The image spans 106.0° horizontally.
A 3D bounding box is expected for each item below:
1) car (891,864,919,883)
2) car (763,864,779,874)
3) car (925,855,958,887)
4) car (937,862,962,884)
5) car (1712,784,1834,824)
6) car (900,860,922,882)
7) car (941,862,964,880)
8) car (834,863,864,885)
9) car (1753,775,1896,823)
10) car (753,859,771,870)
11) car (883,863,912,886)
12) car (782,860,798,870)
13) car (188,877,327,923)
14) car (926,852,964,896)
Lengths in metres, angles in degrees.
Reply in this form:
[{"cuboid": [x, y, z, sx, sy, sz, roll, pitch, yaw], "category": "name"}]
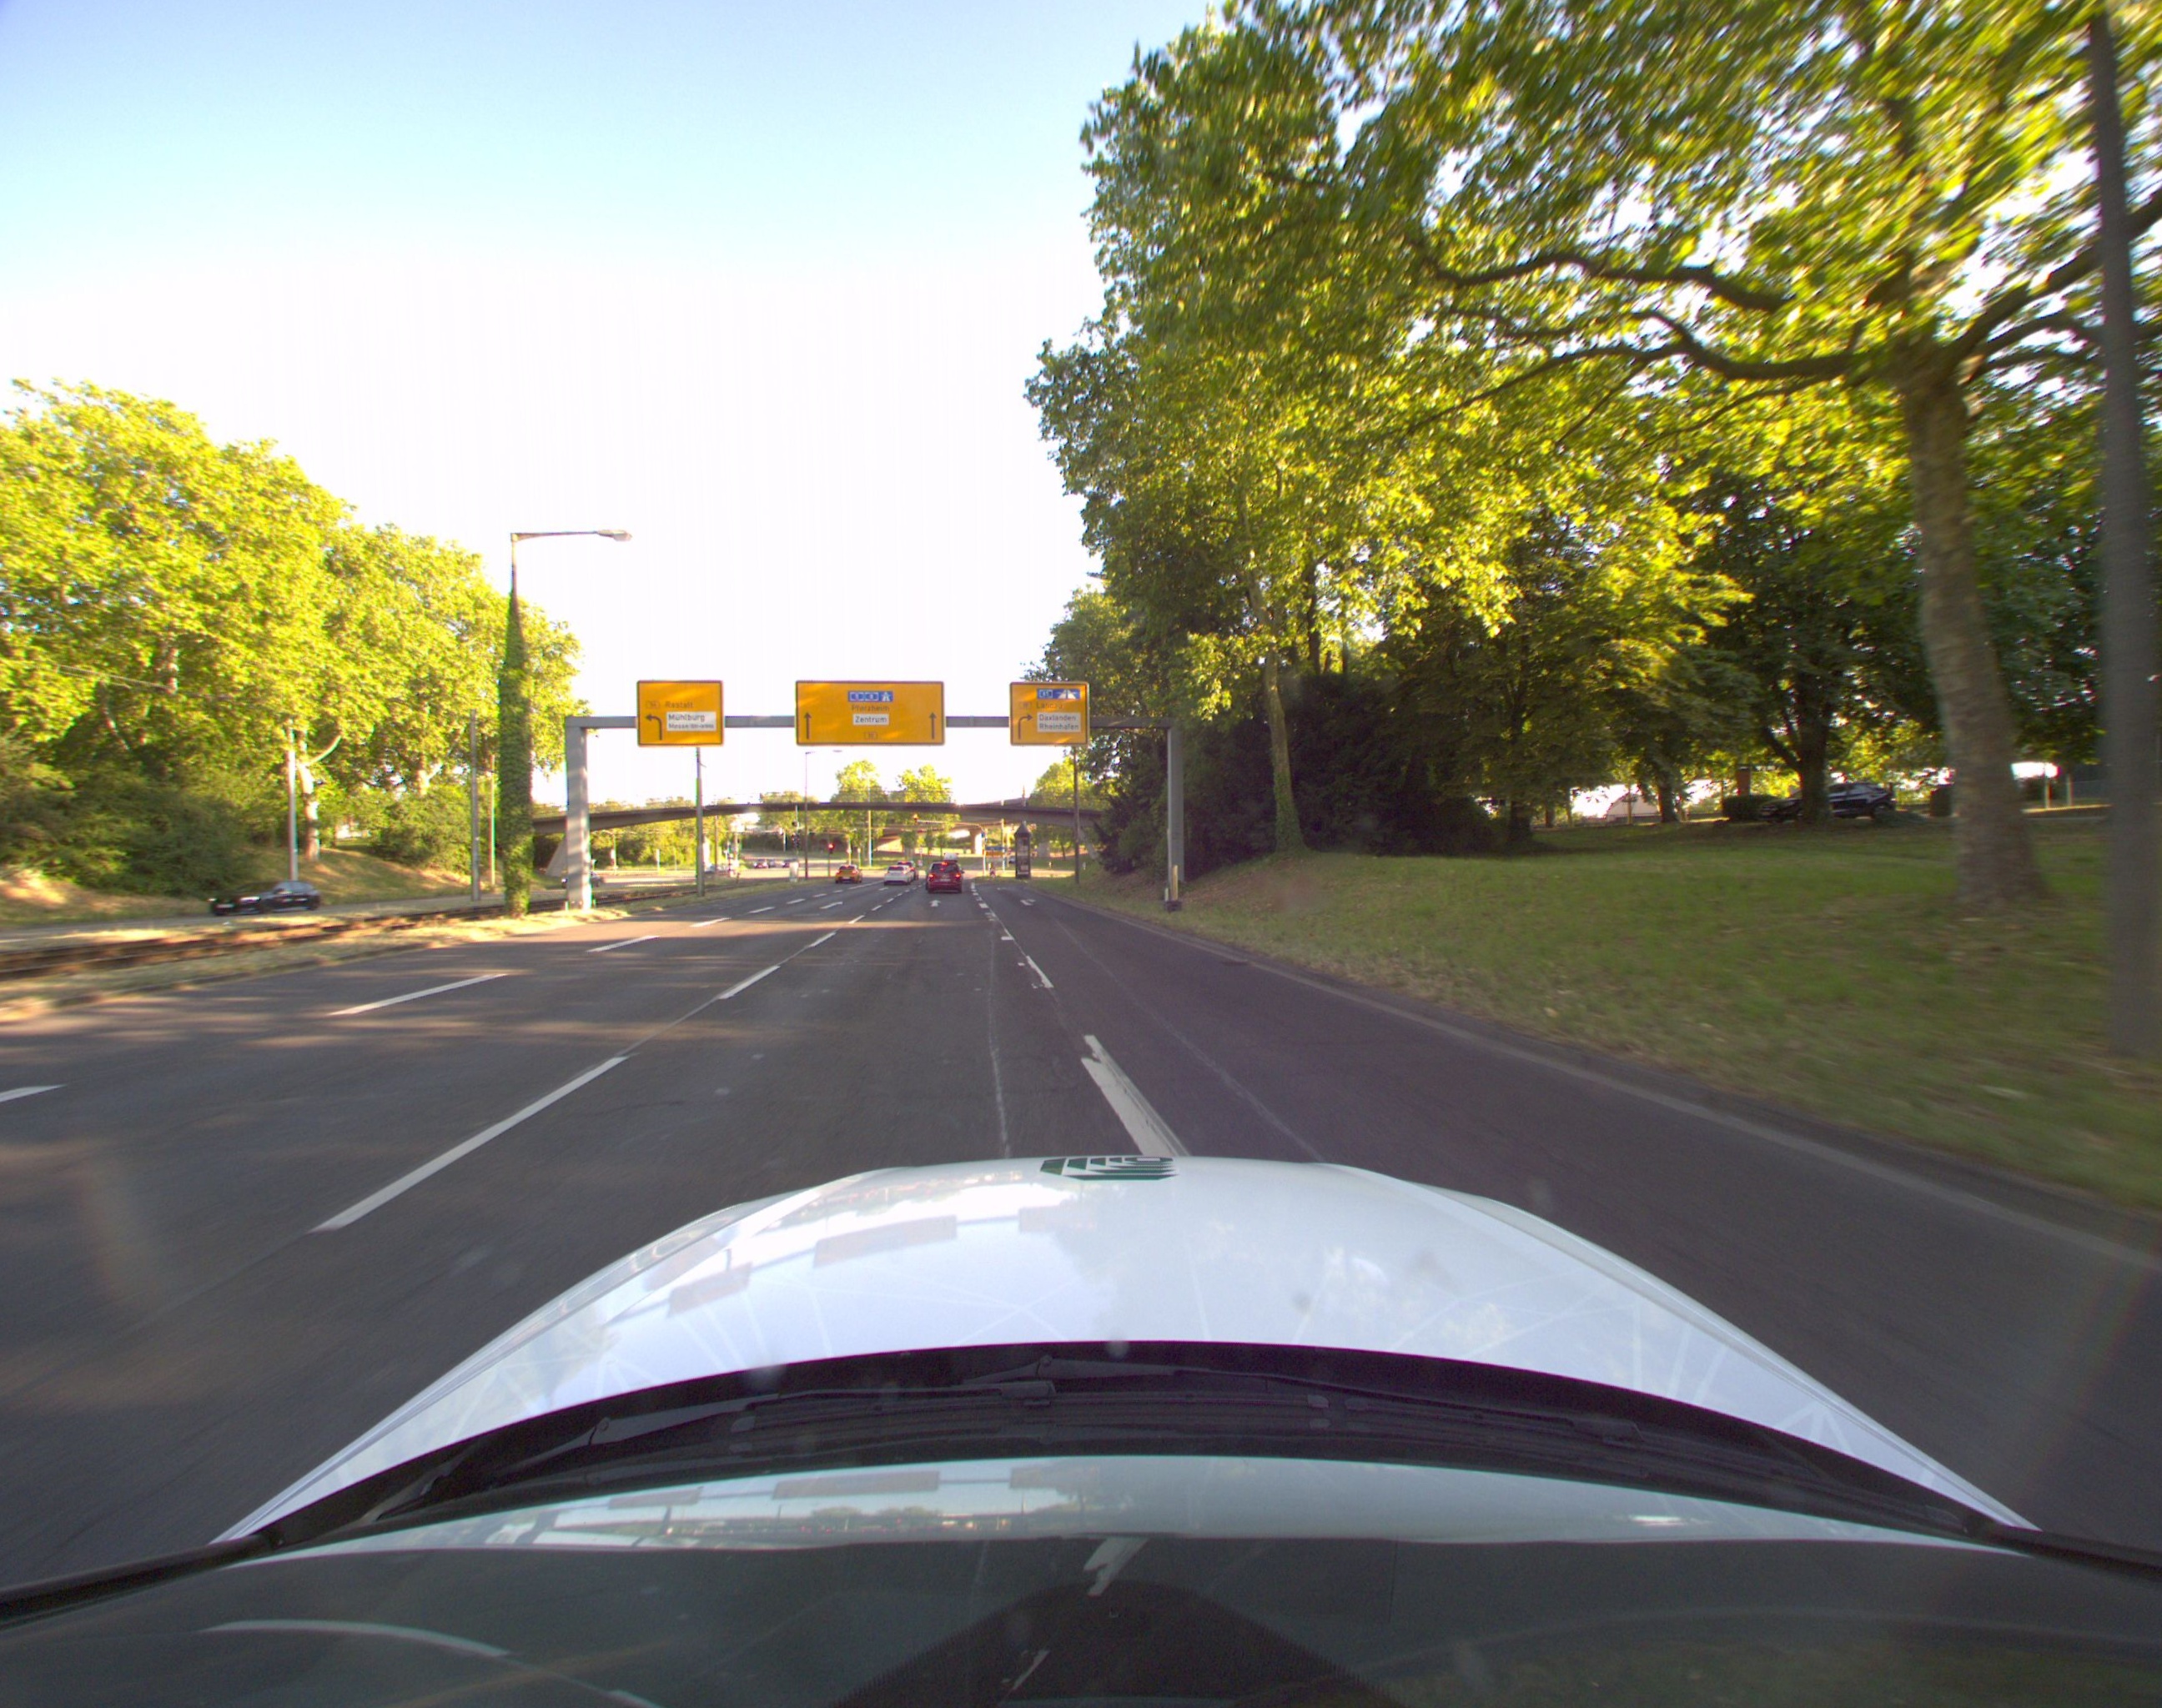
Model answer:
[{"cuboid": [-14.436, 1.594, 67.001, 1.740, 1.432, 4.401, 0, 0, -6], "category": "car"}, {"cuboid": [-52.779, 2.552, 138.716, 1.878, 1.772, 3.986, 0, 0, -10], "category": "car"}, {"cuboid": [-8.406, 0.992, 49.227, 1.791, 1.750, 4.228, -3, 0, -8], "category": "car"}, {"cuboid": [-10.169, 1.438, 63.125, 1.791, 1.481, 3.988, -3, 0, -8], "category": "car"}, {"cuboid": [31.900, -2.266, 37.649, 3.967, 1.552, 1.811, -2, 0, 6], "category": "car"}, {"cuboid": [-15.340, 1.483, 73.475, 1.794, 1.792, 4.805, -3, 0, -13], "category": "car"}, {"cuboid": [-10.917, 1.433, 69.313, 1.791, 1.382, 4.463, -3, 0, -8], "category": "car"}, {"cuboid": [-17.795, 1.517, 62.618, 1.662, 1.565, 3.988, -3, 0, -8], "category": "car"}, {"cuboid": [28.663, -2.108, 31.466, 3.978, 1.552, 1.805, -2, 0, -4], "category": "car"}, {"cuboid": [-51.450, 1.681, 131.518, 1.878, 1.772, 3.986, 0, 0, -10], "category": "car"}, {"cuboid": [-13.501, 1.492, 60.146, 1.662, 1.565, 4.178, -3, 0, -8], "category": "car"}, {"cuboid": [-48.114, 1.785, 134.565, 1.878, 1.575, 3.662, 0, 0, -10], "category": "car"}, {"cuboid": [-35.199, 1.926, 34.990, 1.992, 1.681, 4.180, -2, 0, -8], "category": "car"}, {"cuboid": [-7.175, 1.007, 43.050, 1.792, 2.105, 3.988, -3, 0, -9], "category": "car"}]
